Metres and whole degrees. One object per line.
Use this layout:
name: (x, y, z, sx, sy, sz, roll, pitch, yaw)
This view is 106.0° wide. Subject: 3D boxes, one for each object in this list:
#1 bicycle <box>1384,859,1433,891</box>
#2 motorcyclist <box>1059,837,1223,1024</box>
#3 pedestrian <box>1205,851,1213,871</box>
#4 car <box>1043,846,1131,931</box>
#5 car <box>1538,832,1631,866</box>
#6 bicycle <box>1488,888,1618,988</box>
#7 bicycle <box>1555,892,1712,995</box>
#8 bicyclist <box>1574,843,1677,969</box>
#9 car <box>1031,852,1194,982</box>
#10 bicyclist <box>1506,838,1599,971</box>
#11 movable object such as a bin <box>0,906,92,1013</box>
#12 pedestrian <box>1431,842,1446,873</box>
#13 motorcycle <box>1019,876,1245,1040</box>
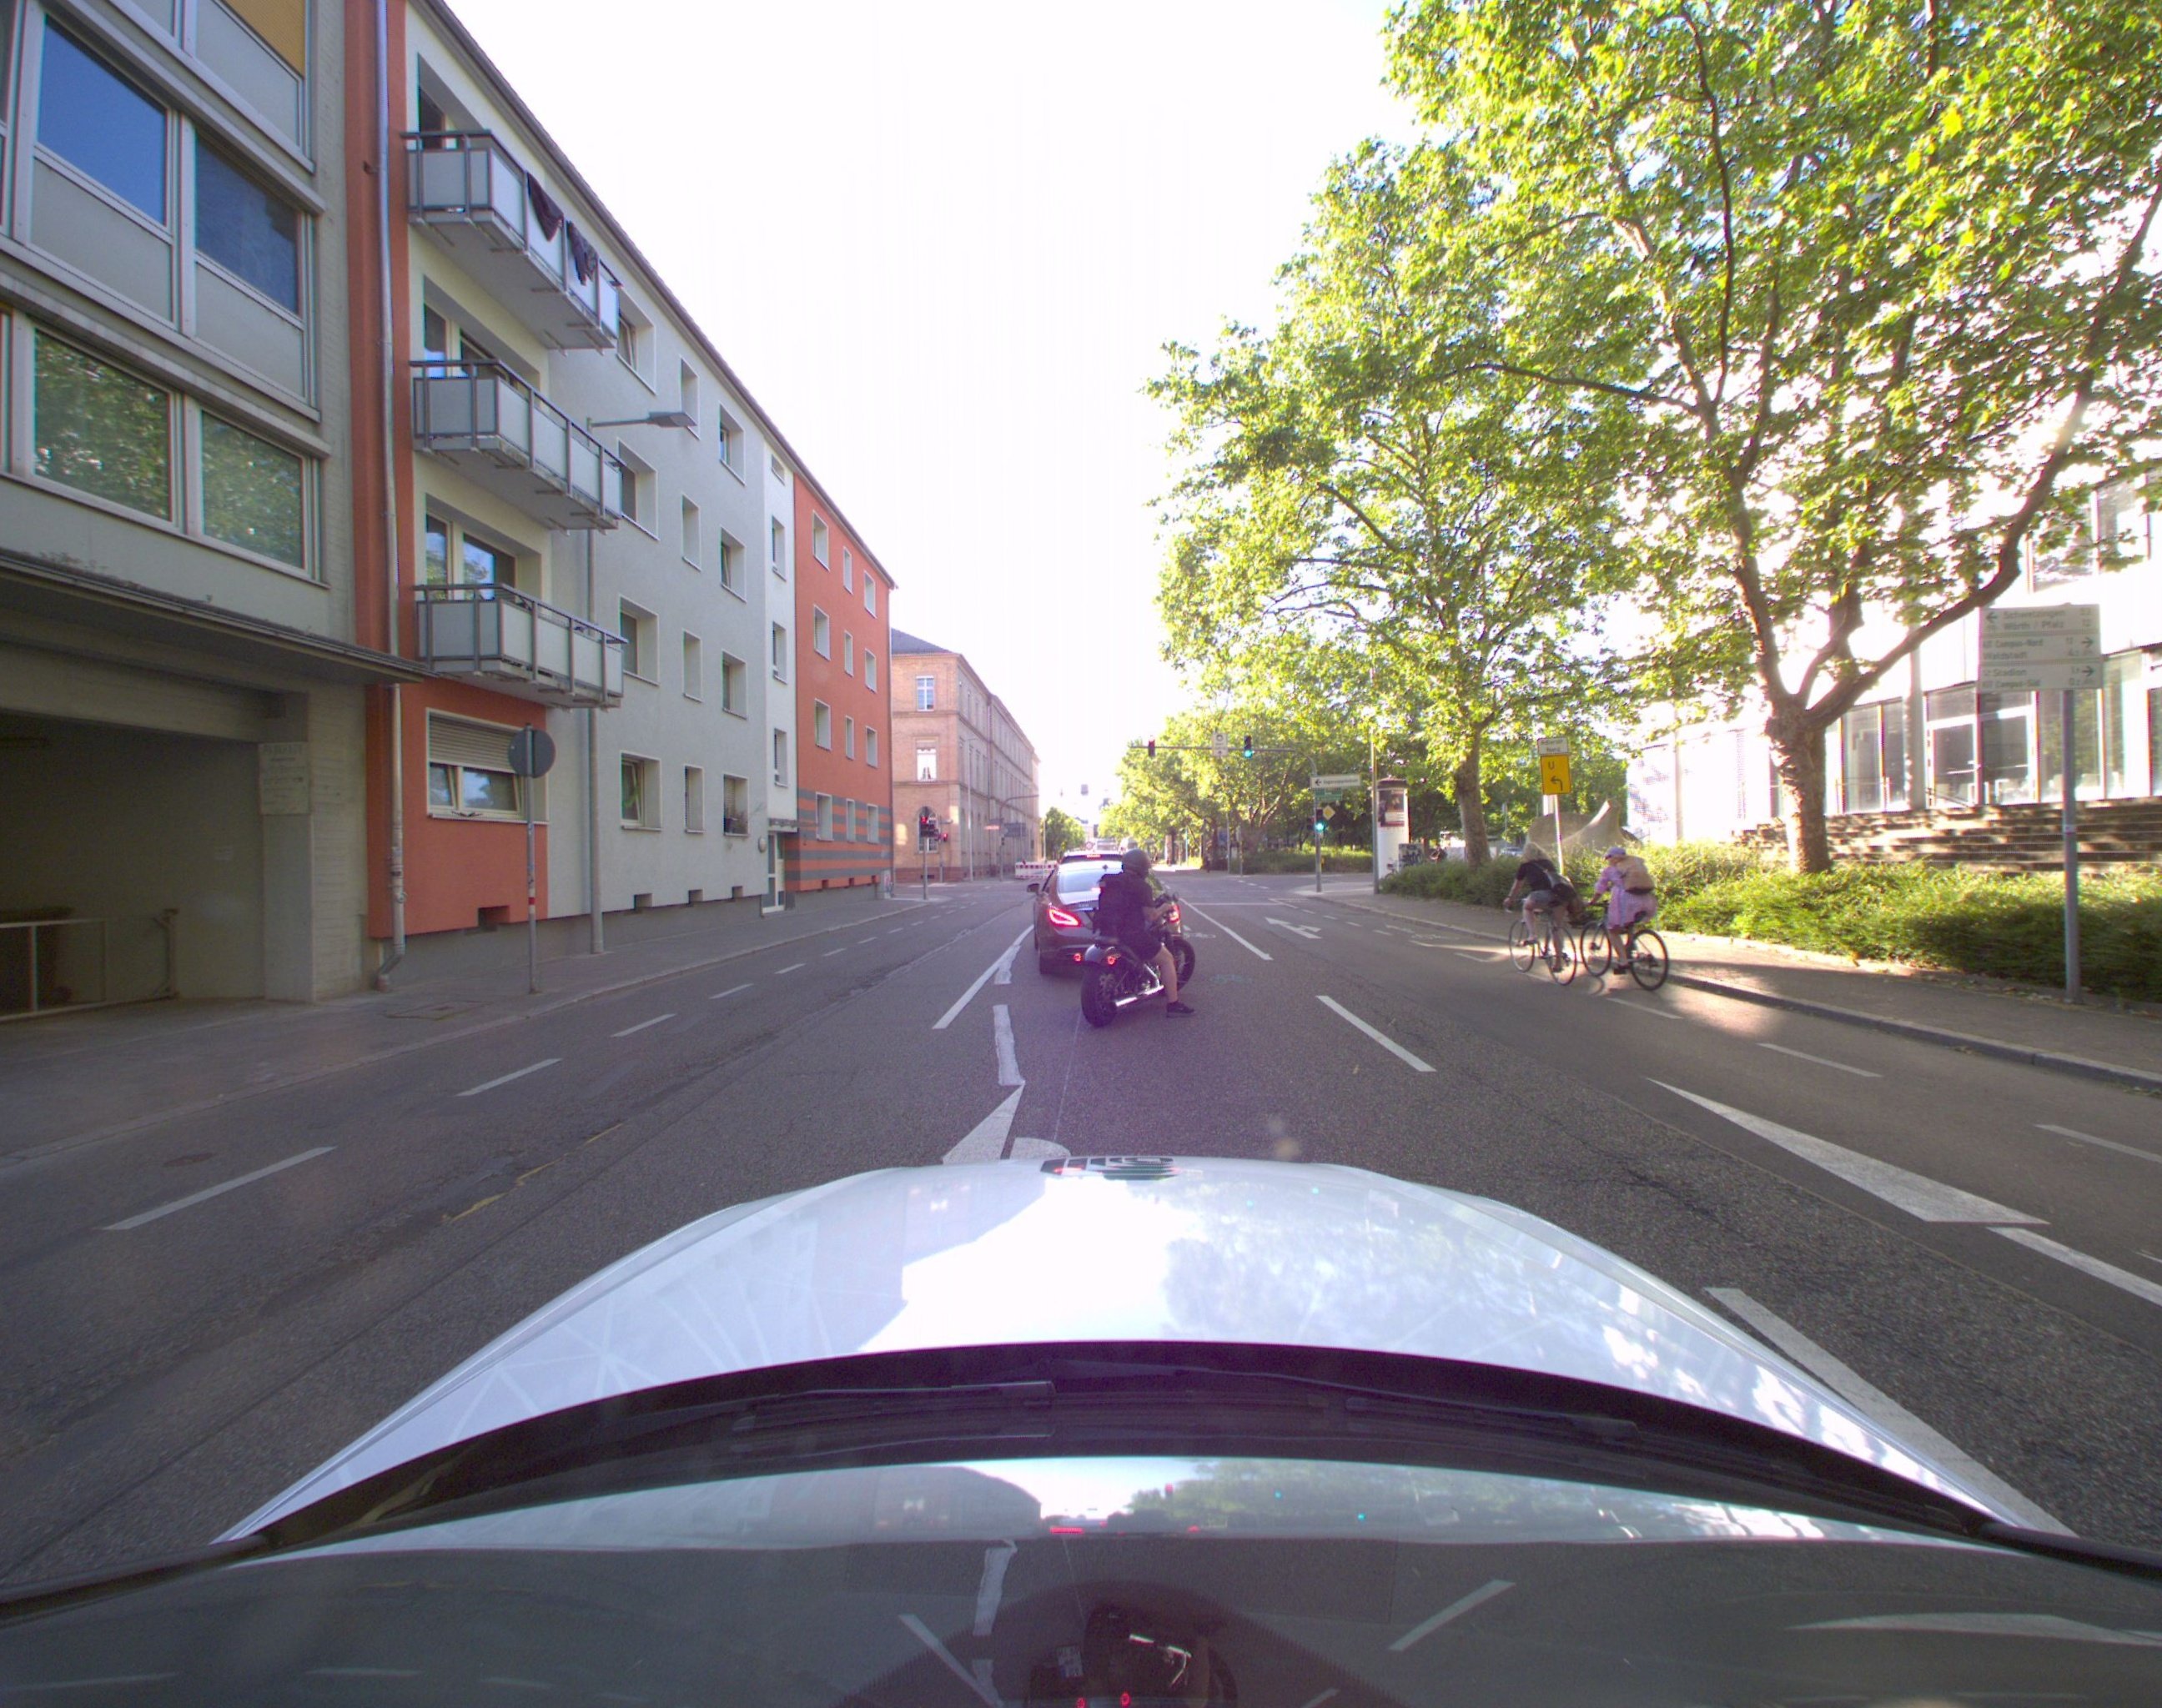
bicycle: (10.980, 0.710, 27.345, 1.411, 1.037, 0.538, -1, 0, -2)
motorcyclist: (0.596, 0.662, 7.820, 1.102, 1.613, 1.210, -1, 0, 32)
pedestrian: (10.392, 0.573, 66.285, 0.557, 1.678, 0.565, -1, 0, 1)
car: (0.138, 0.675, 17.779, 1.676, 1.625, 3.841, -1, 0, 1)
car: (28.133, -0.250, 45.596, 3.975, 1.784, 2.004, -1, 0, 7)
bicycle: (5.598, 0.956, 9.788, 0.608, 1.026, 1.732, 0, 0, 2)
bicycle: (6.343, 0.980, 9.478, 0.598, 0.985, 1.882, 1, 0, 2)
bicyclist: (6.345, 0.578, 9.538, 0.598, 1.402, 0.931, 1, 0, 2)
car: (0.242, 0.746, 11.754, 1.818, 1.476, 4.346, -1, 0, -5)
bicyclist: (5.605, 0.574, 9.728, 0.608, 1.516, 0.890, 0, 0, 2)
movable object such as a bin: (-11.223, 1.100, 8.635, 0.584, 1.040, 0.712, -1, 0, 2)
pedestrian: (21.043, 0.216, 47.953, 0.617, 1.784, 0.631, -1, 0, 4)
motorcycle: (0.613, 0.864, 7.839, 0.997, 1.204, 2.682, -1, 0, 32)
